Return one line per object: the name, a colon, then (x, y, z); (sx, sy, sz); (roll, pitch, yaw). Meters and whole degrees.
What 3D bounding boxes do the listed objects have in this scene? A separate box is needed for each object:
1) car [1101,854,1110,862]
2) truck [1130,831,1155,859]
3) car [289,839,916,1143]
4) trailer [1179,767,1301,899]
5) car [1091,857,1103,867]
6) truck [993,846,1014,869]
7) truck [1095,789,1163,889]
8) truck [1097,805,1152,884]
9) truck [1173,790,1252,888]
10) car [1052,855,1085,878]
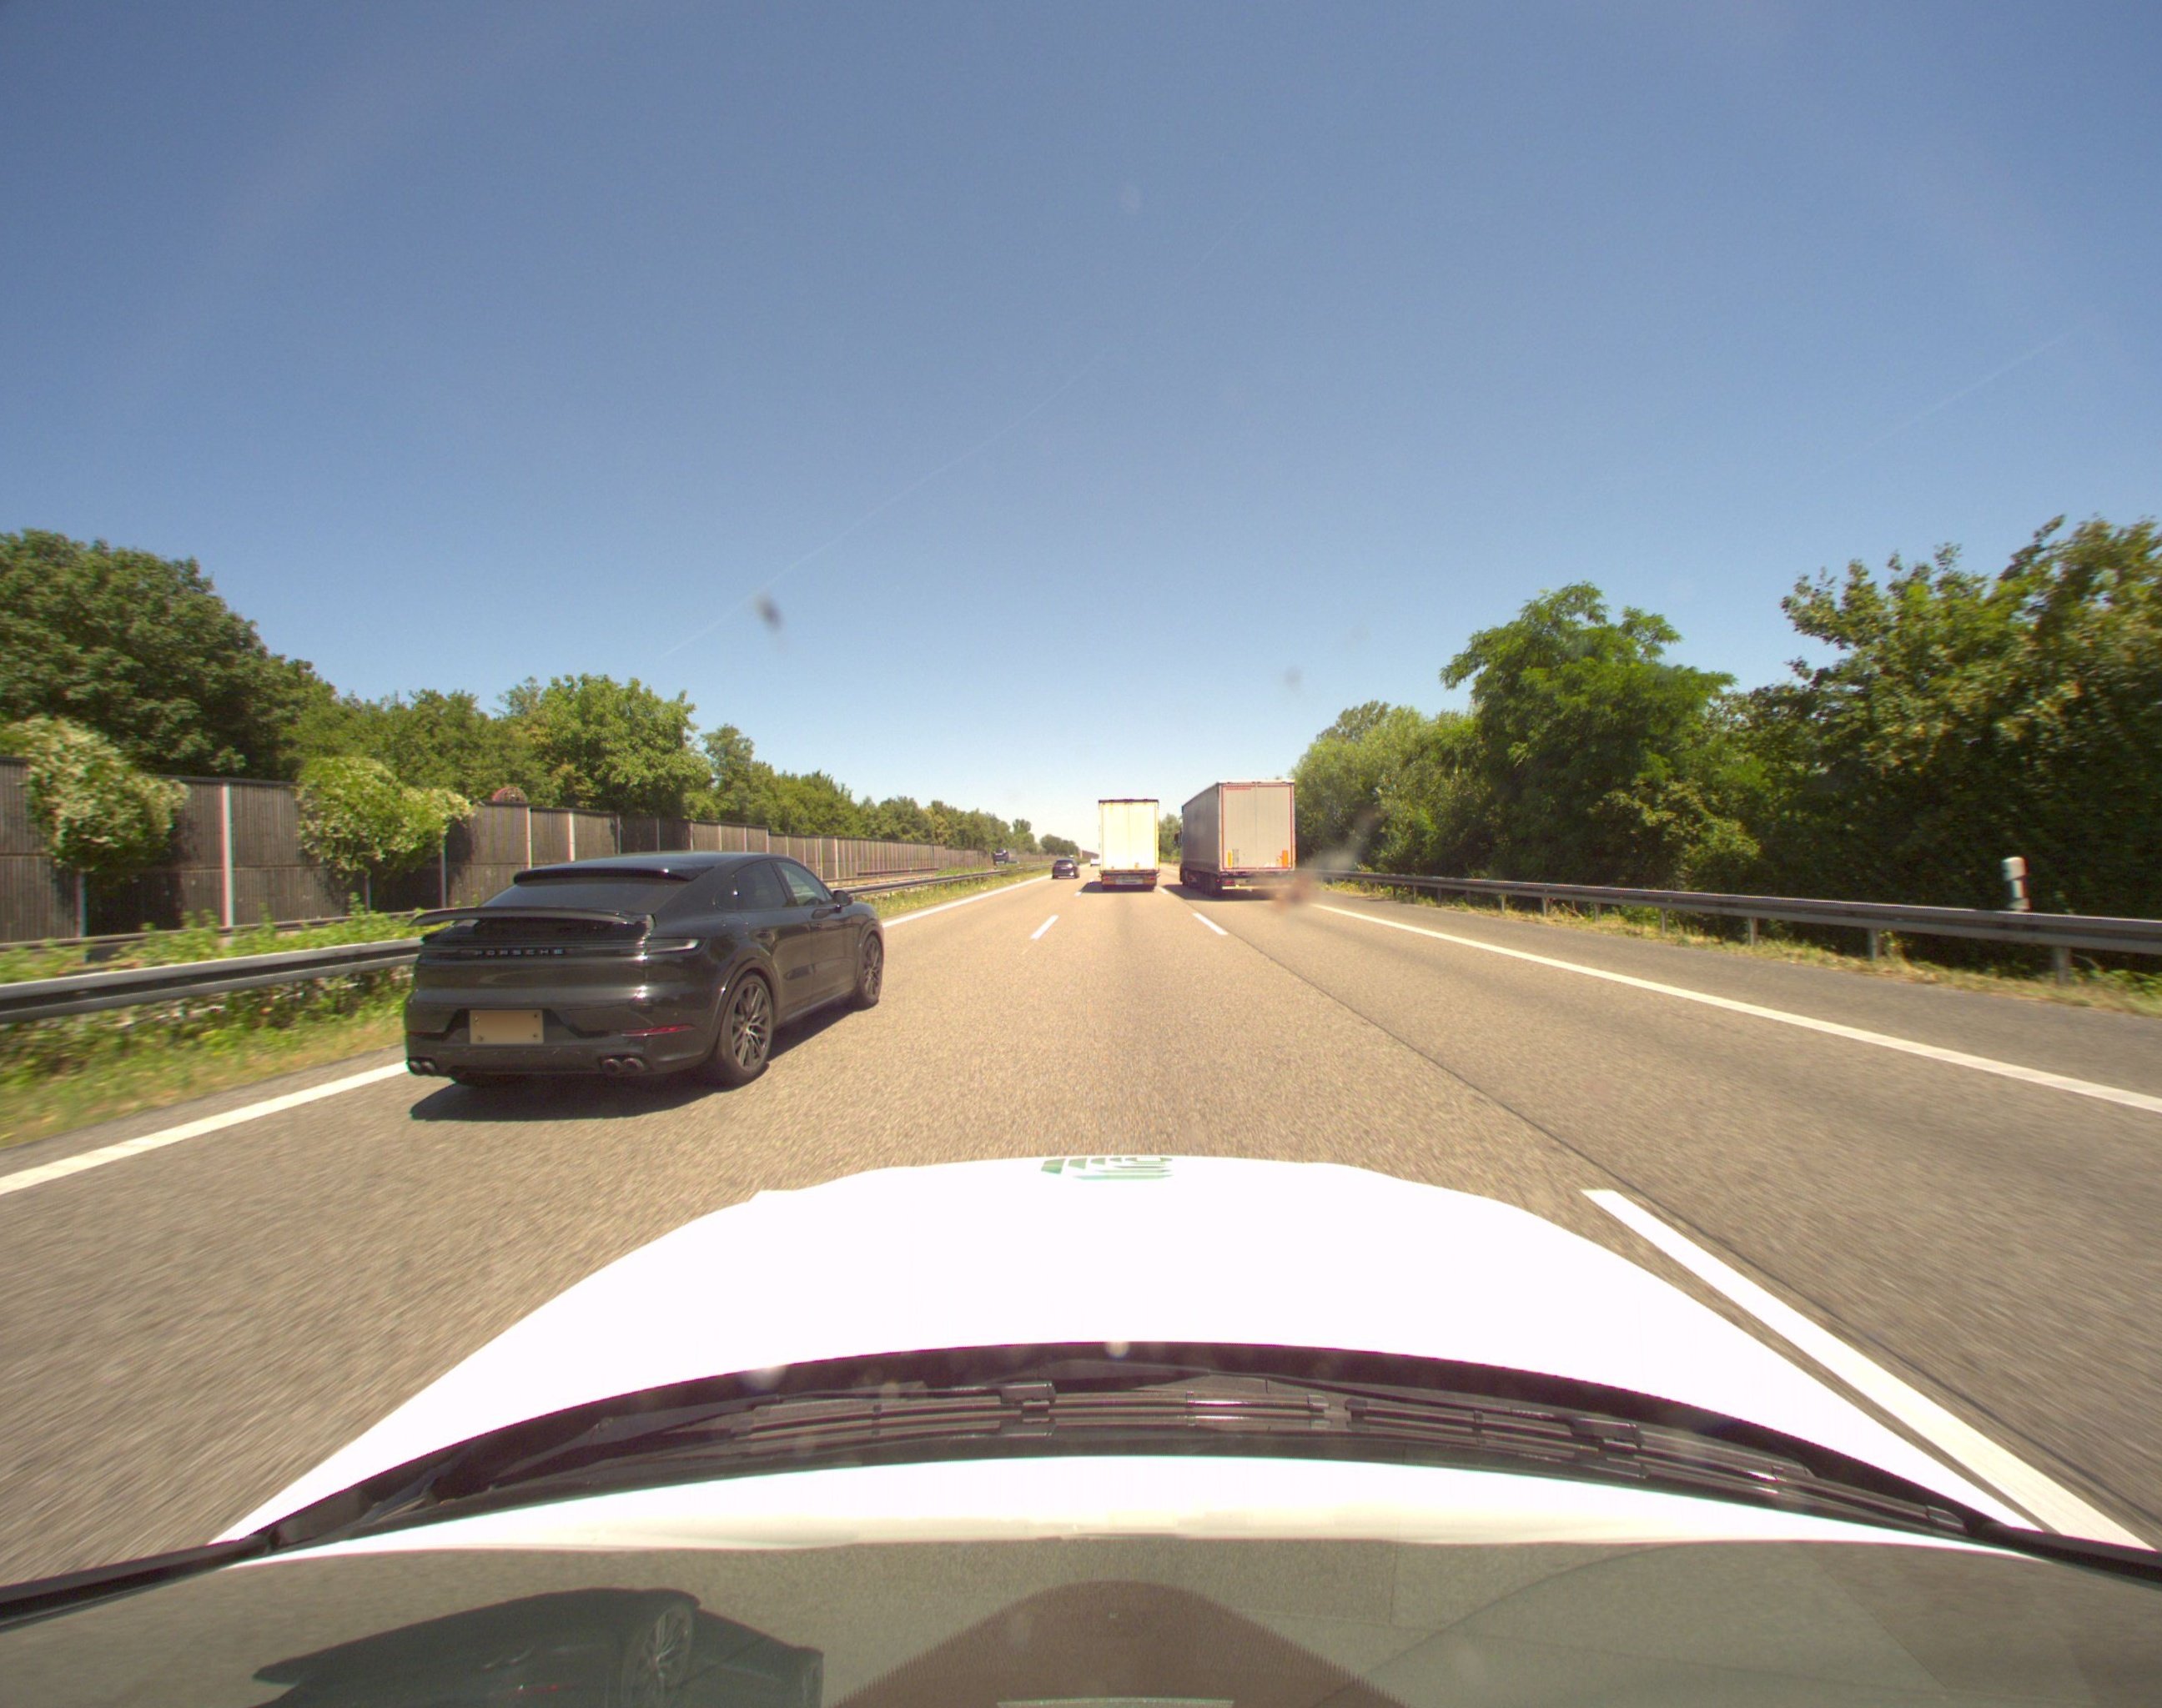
car: (5.391, 0.897, 177.414); (1.849, 1.617, 4.000); (-4, 0, 0)
truck: (9.608, -1.385, 128.910); (3.362, 4.303, 11.452); (0, 0, 1)
car: (-3.239, 0.748, 7.381); (2.036, 1.625, 5.775); (-2, 0, 2)
trailer: (6.039, -0.679, 33.463); (2.693, 4.215, 13.217); (-3, 0, 2)
car: (2.669, 1.286, 137.593); (1.848, 1.486, 4.002); (-4, 0, 2)
truck: (-14.567, 0.702, 152.941); (2.717, 4.085, 7.841); (-3, 0, 2)
truck: (2.233, -0.617, 41.191); (2.697, 4.085, 13.479); (-3, 0, 2)
truck: (2.420, -0.496, 46.837); (2.717, 4.085, 7.280); (-3, 0, 2)
truck: (6.258, -0.663, 40.021); (2.681, 4.215, 7.841); (-3, 0, 2)
car: (-0.858, 0.915, 60.796); (1.935, 1.506, 5.826); (-3, 0, 3)
